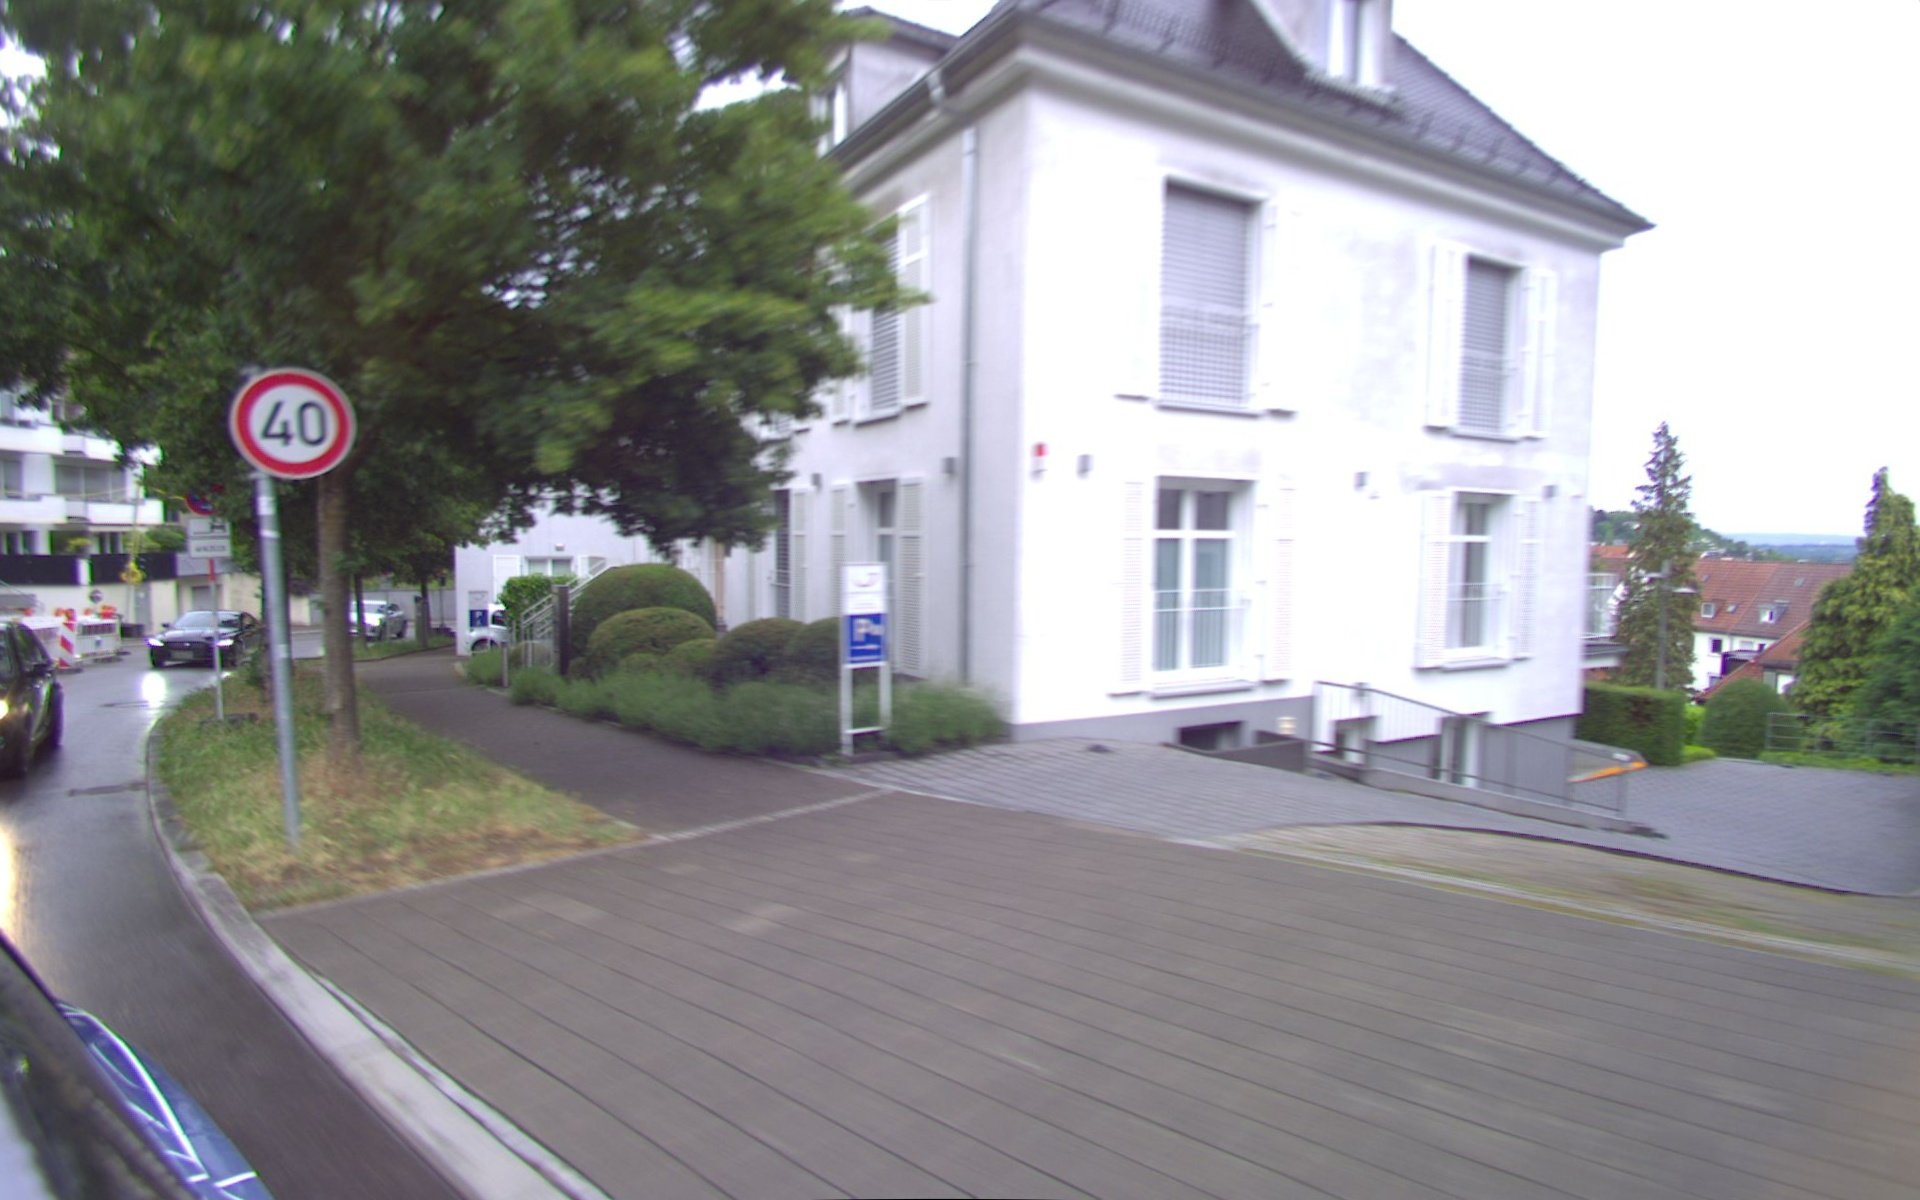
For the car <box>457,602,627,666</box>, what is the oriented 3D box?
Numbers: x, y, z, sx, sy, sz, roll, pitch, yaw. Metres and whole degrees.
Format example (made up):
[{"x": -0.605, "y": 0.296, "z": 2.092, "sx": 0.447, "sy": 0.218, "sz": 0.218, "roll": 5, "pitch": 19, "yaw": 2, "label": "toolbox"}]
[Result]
[{"x": -10.831, "y": 0.882, "z": 26.401, "sx": 3.930, "sy": 1.573, "sz": 1.755, "roll": 1, "pitch": 0, "yaw": -22, "label": "car"}]

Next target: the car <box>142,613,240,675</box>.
[{"x": -20.039, "y": 1.088, "z": 26.506, "sx": 1.778, "sy": 1.500, "sz": 4.028, "roll": 1, "pitch": -1, "yaw": -34, "label": "car"}]

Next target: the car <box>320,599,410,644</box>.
[{"x": -24.918, "y": 0.864, "z": 42.559, "sx": 1.980, "sy": 1.674, "sz": 4.457, "roll": 3, "pitch": 0, "yaw": -13, "label": "car"}]

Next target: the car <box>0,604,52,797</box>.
[{"x": -10.081, "y": 0.909, "z": 9.796, "sx": 1.553, "sy": 1.463, "sz": 3.596, "roll": -1, "pitch": 4, "yaw": -36, "label": "car"}]

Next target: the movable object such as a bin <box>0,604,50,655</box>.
[{"x": -29.979, "y": 0.902, "z": 30.775, "sx": 1.966, "sy": 1.531, "sz": 4.012, "roll": 0, "pitch": -1, "yaw": -18, "label": "movable object such as a bin"}]
